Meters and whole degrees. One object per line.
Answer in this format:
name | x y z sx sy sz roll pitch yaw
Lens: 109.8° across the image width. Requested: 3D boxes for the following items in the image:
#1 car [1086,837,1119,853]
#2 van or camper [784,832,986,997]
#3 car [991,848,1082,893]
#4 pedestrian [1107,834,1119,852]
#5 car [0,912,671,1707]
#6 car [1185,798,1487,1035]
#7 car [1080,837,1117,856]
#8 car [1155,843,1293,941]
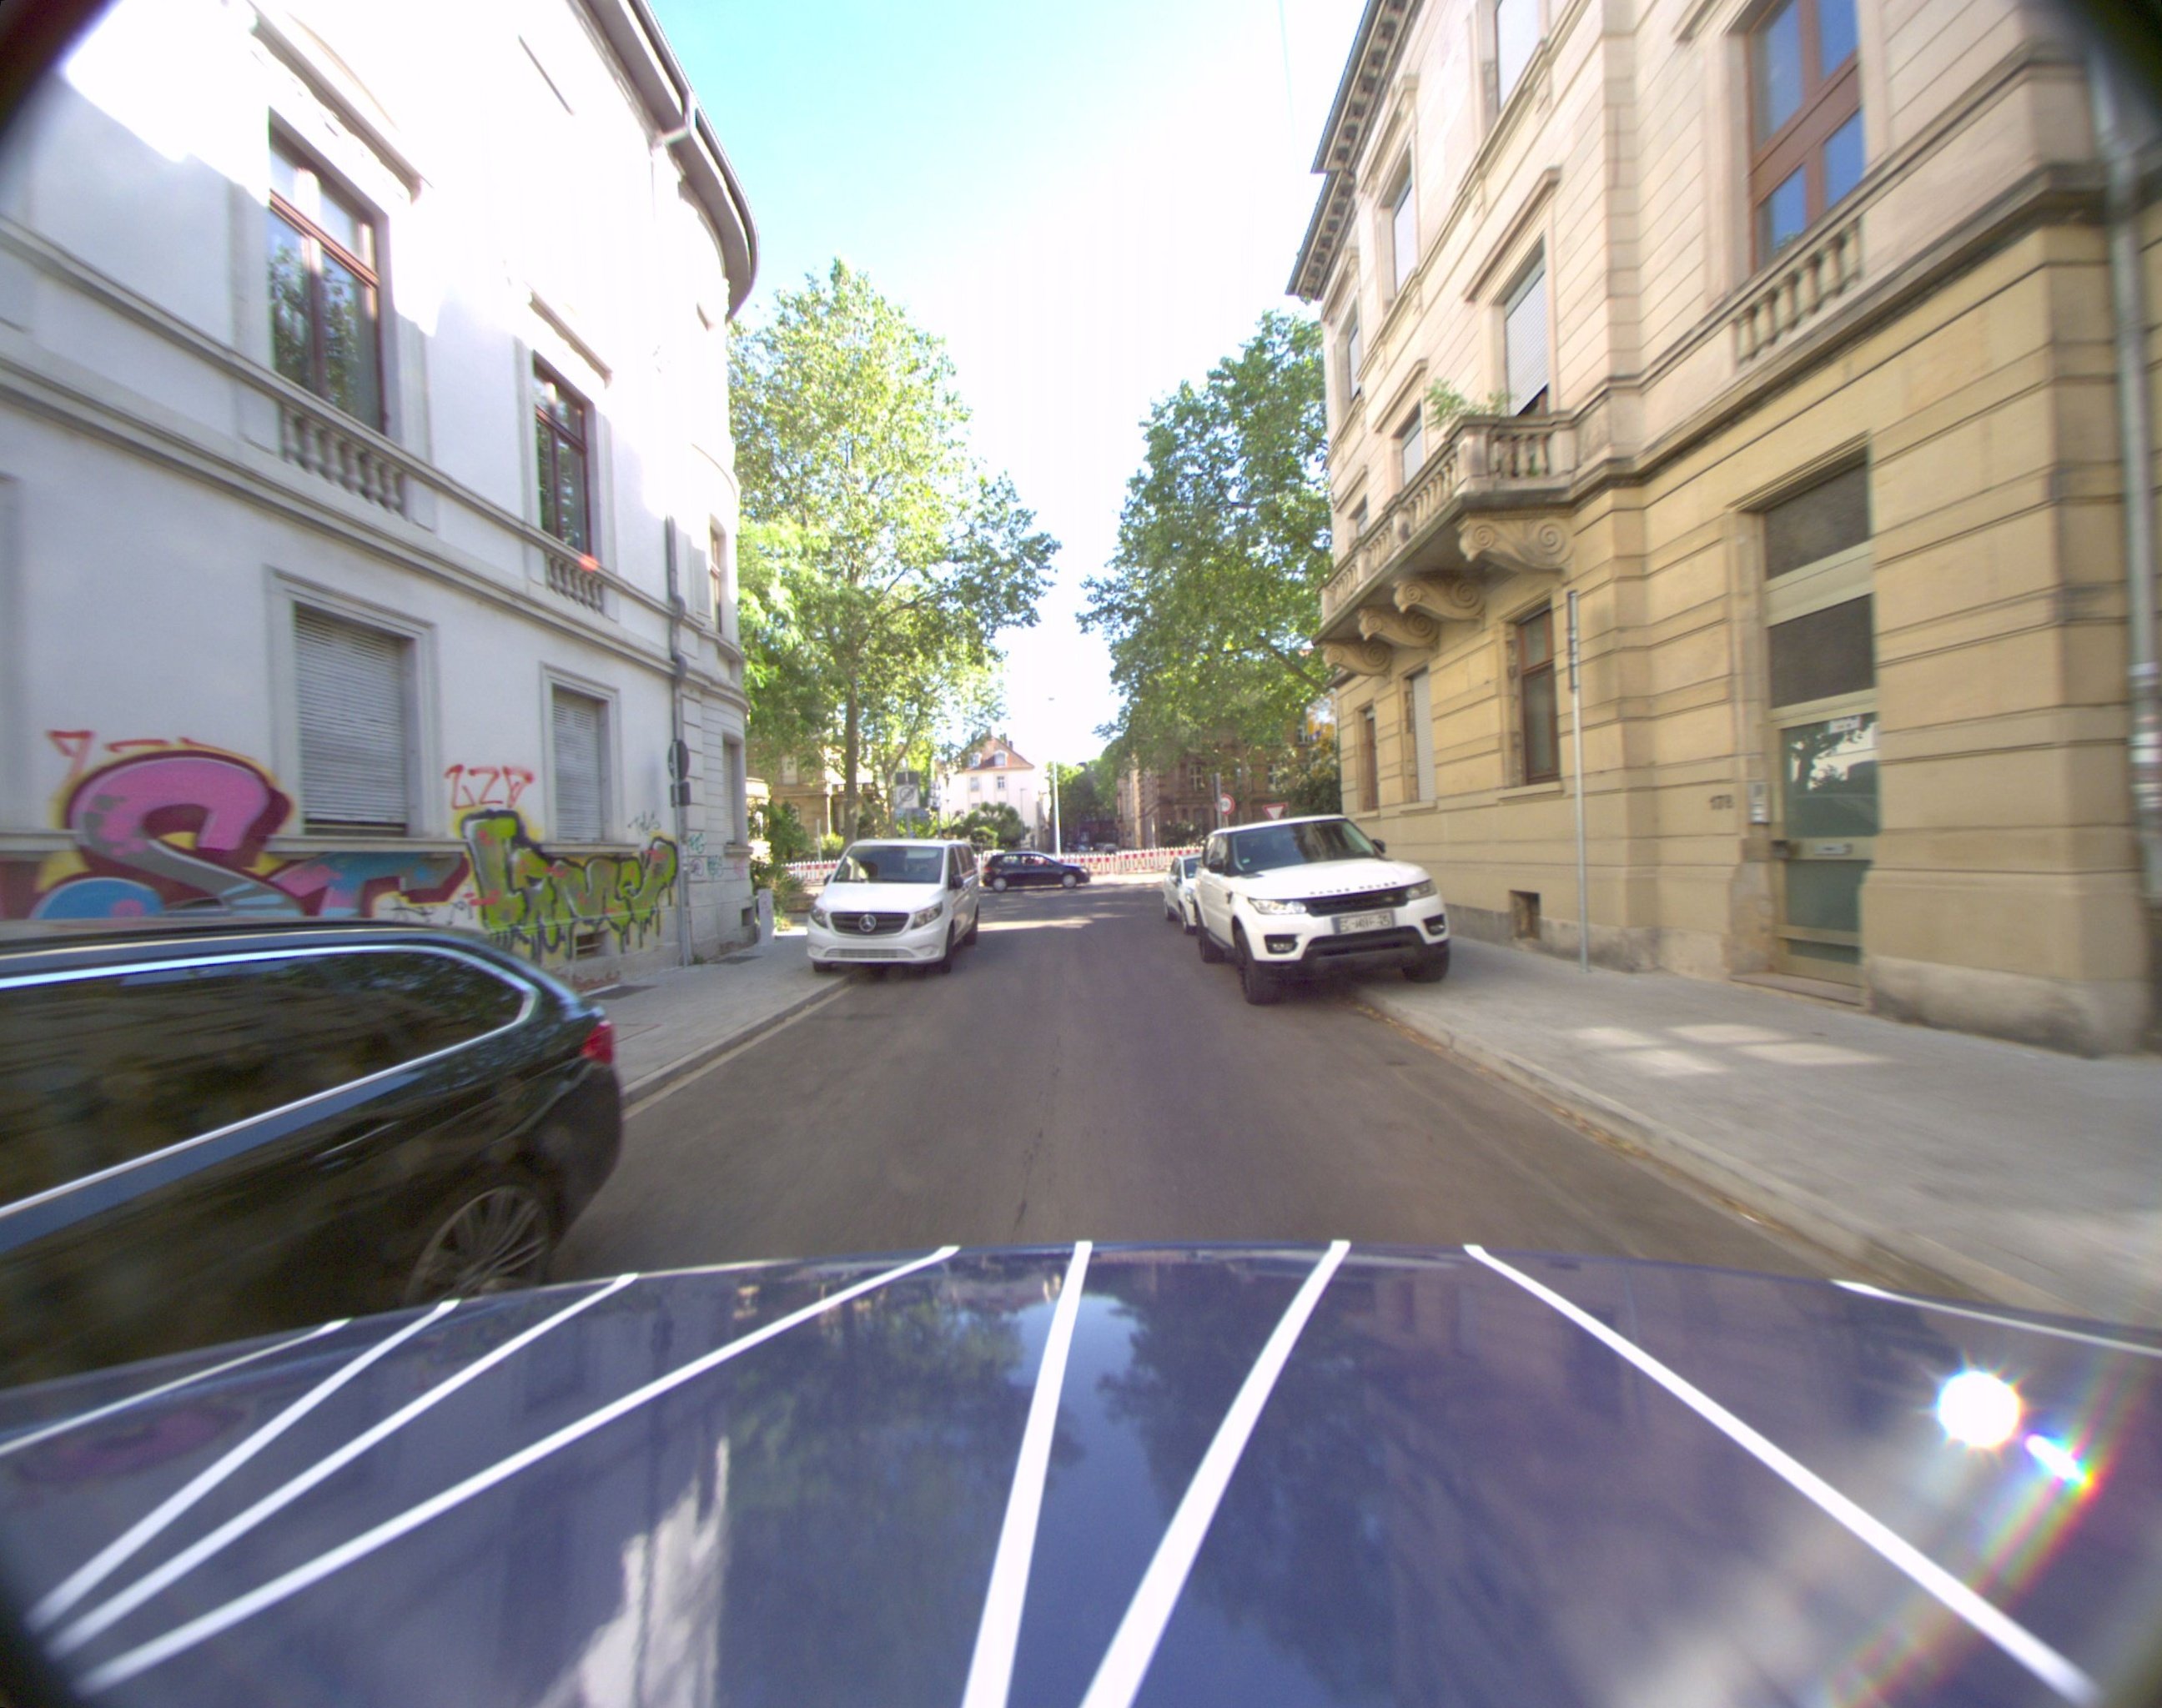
car | 2.475 -1.061 88.544 3.801 1.726 1.622 -3 1 0
van or camper | -2.782 0.753 12.117 1.899 2.002 5.030 -3 0 -1
car | -1.684 0.607 28.853 3.290 1.447 1.492 -4 1 -4
pedestrian | 3.106 -1.031 72.785 0.761 1.651 0.826 -3 1 -27
car | -2.671 1.071 0.745 1.819 1.511 4.727 -5 0 1
car | 2.566 0.526 8.983 2.027 2.002 4.542 -3 1 1
car | 1.807 -0.775 78.835 3.801 1.726 1.622 -3 1 0
car | 2.710 0.634 15.347 1.872 1.552 3.940 -5 1 -1
